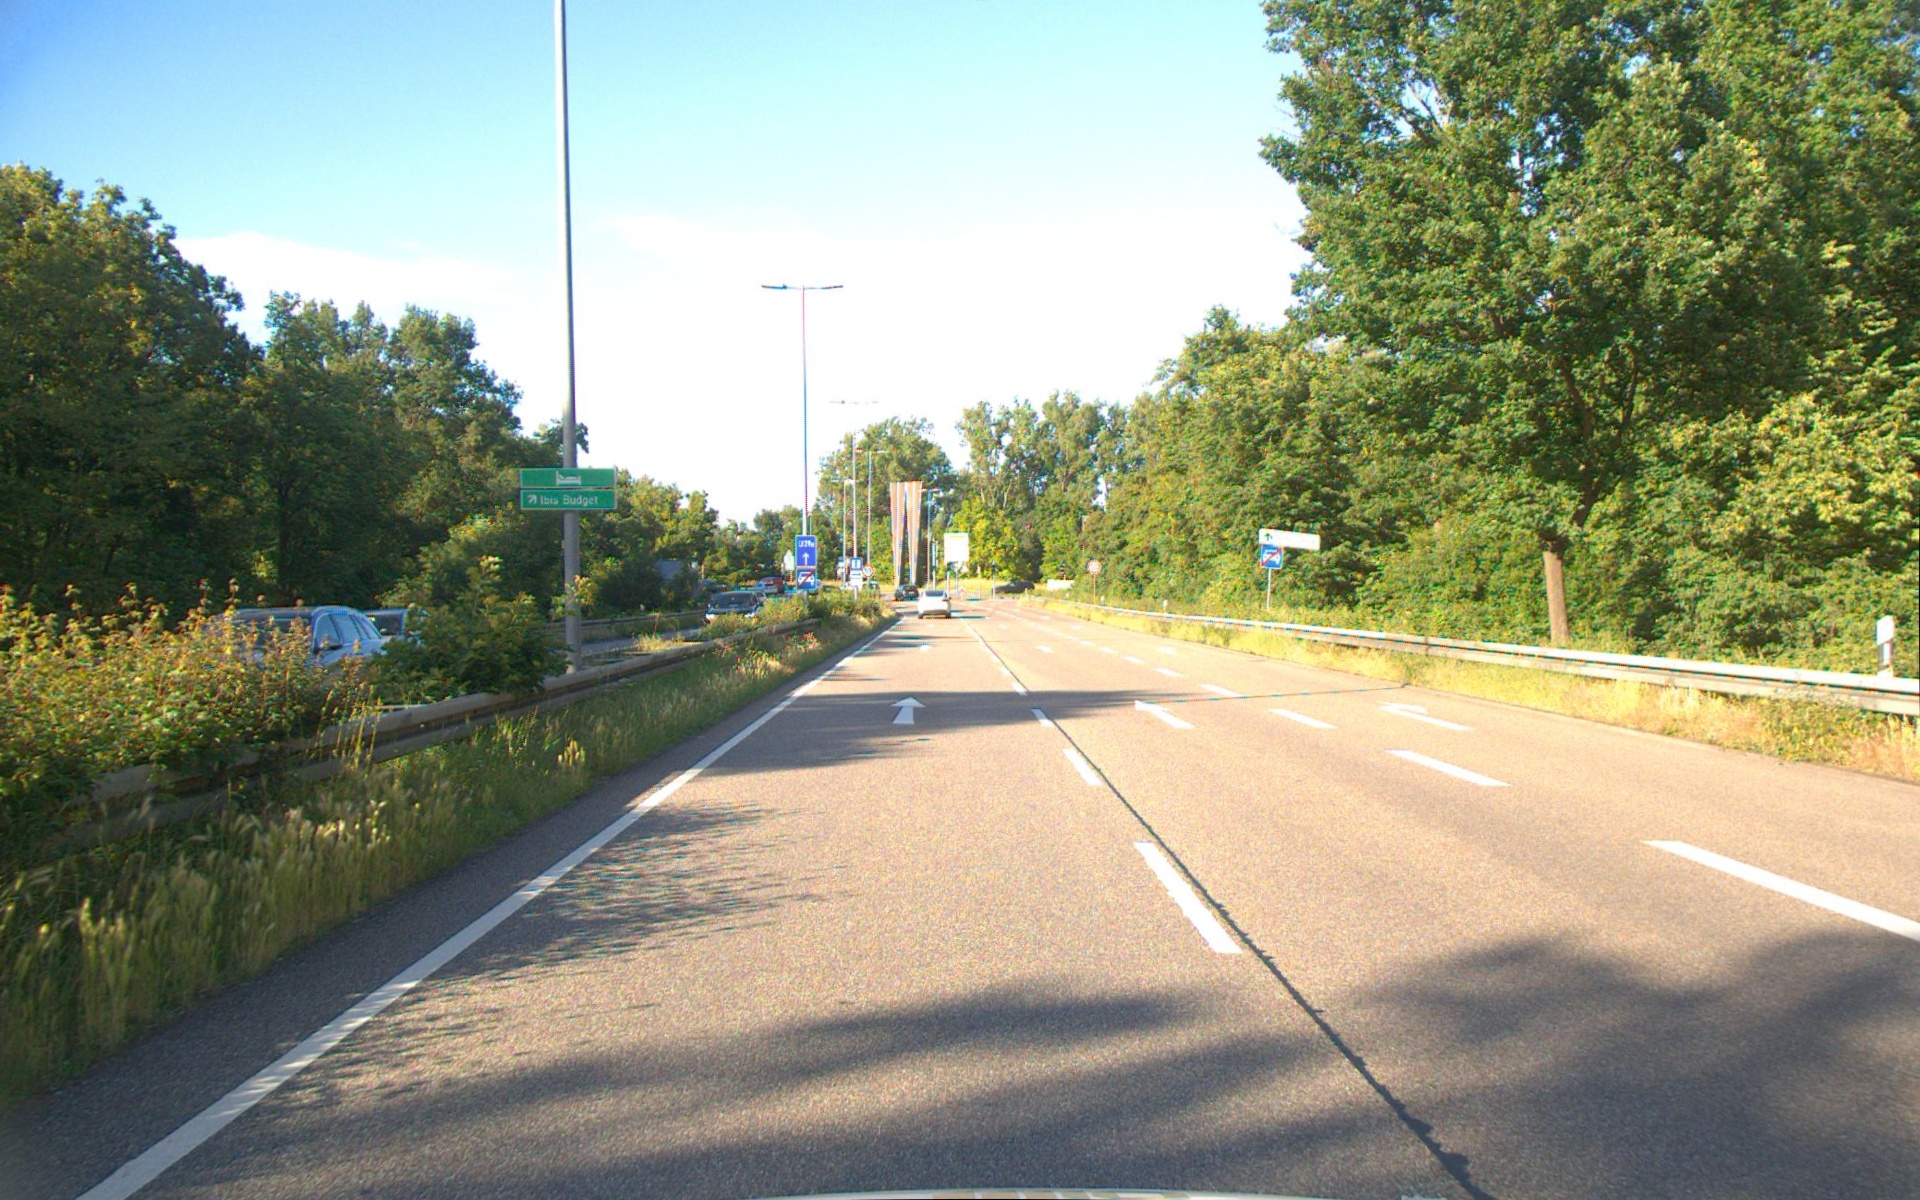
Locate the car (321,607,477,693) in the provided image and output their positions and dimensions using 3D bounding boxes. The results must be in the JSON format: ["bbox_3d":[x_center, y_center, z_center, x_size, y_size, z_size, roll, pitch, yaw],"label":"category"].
[{"bbox_3d":[-10.886,0.929,32.372,1.715,1.475,3.714,-2,0,0],"label":"car"}]

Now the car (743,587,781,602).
[{"bbox_3d":[-21.386,-0.566,178.350,2.255,1.534,3.937,-1,0,-43],"label":"car"}]

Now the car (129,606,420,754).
[{"bbox_3d":[-7.816,0.837,19.330,1.716,1.475,4.430,-1,0,-3],"label":"car"}]

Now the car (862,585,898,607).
[{"bbox_3d":[-7.345,-0.384,151.886,1.966,1.912,4.219,-1,1,-23],"label":"car"}]

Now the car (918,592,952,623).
[{"bbox_3d":[-1.479,0.401,96.422,1.953,1.668,4.127,-1,1,-1],"label":"car"}]

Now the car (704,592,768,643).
[{"bbox_3d":[-8.060,0.617,59.955,1.749,1.740,4.546,-1,0,-1],"label":"car"}]

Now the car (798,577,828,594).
[{"bbox_3d":[-15.092,-1.492,169.519,1.942,1.728,3.973,-1,1,-23],"label":"car"}]
